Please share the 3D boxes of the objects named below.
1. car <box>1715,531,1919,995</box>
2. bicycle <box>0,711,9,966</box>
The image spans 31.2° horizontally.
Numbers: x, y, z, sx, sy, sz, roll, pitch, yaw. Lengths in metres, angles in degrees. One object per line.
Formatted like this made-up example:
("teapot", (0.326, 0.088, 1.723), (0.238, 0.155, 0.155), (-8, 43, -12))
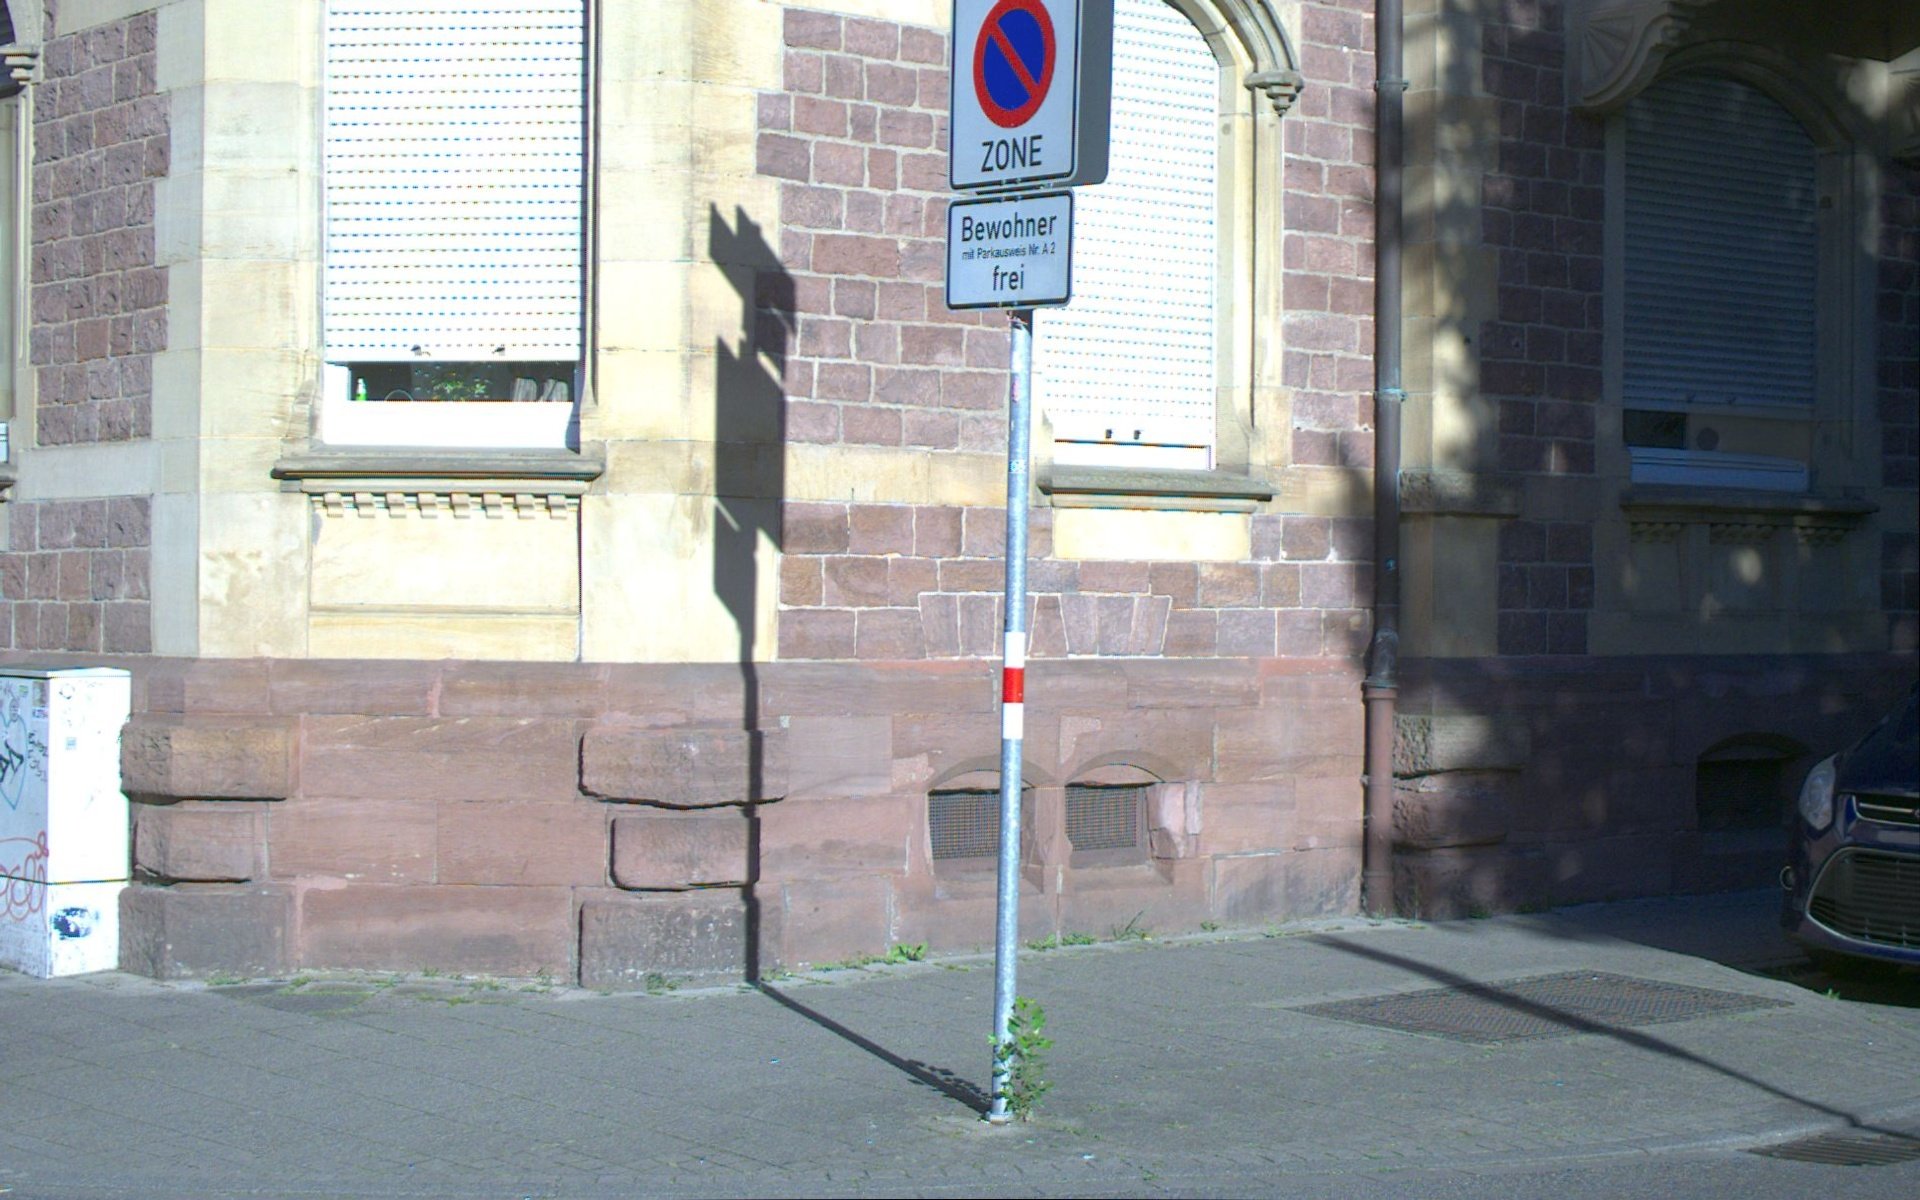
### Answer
("car", (4.976, 0.643, 13.552), (4.246, 1.616, 1.734), (2, 1, -43))
("bicycle", (-4.510, 0.914, 13.760), (1.574, 0.994, 0.514), (1, -1, 40))
